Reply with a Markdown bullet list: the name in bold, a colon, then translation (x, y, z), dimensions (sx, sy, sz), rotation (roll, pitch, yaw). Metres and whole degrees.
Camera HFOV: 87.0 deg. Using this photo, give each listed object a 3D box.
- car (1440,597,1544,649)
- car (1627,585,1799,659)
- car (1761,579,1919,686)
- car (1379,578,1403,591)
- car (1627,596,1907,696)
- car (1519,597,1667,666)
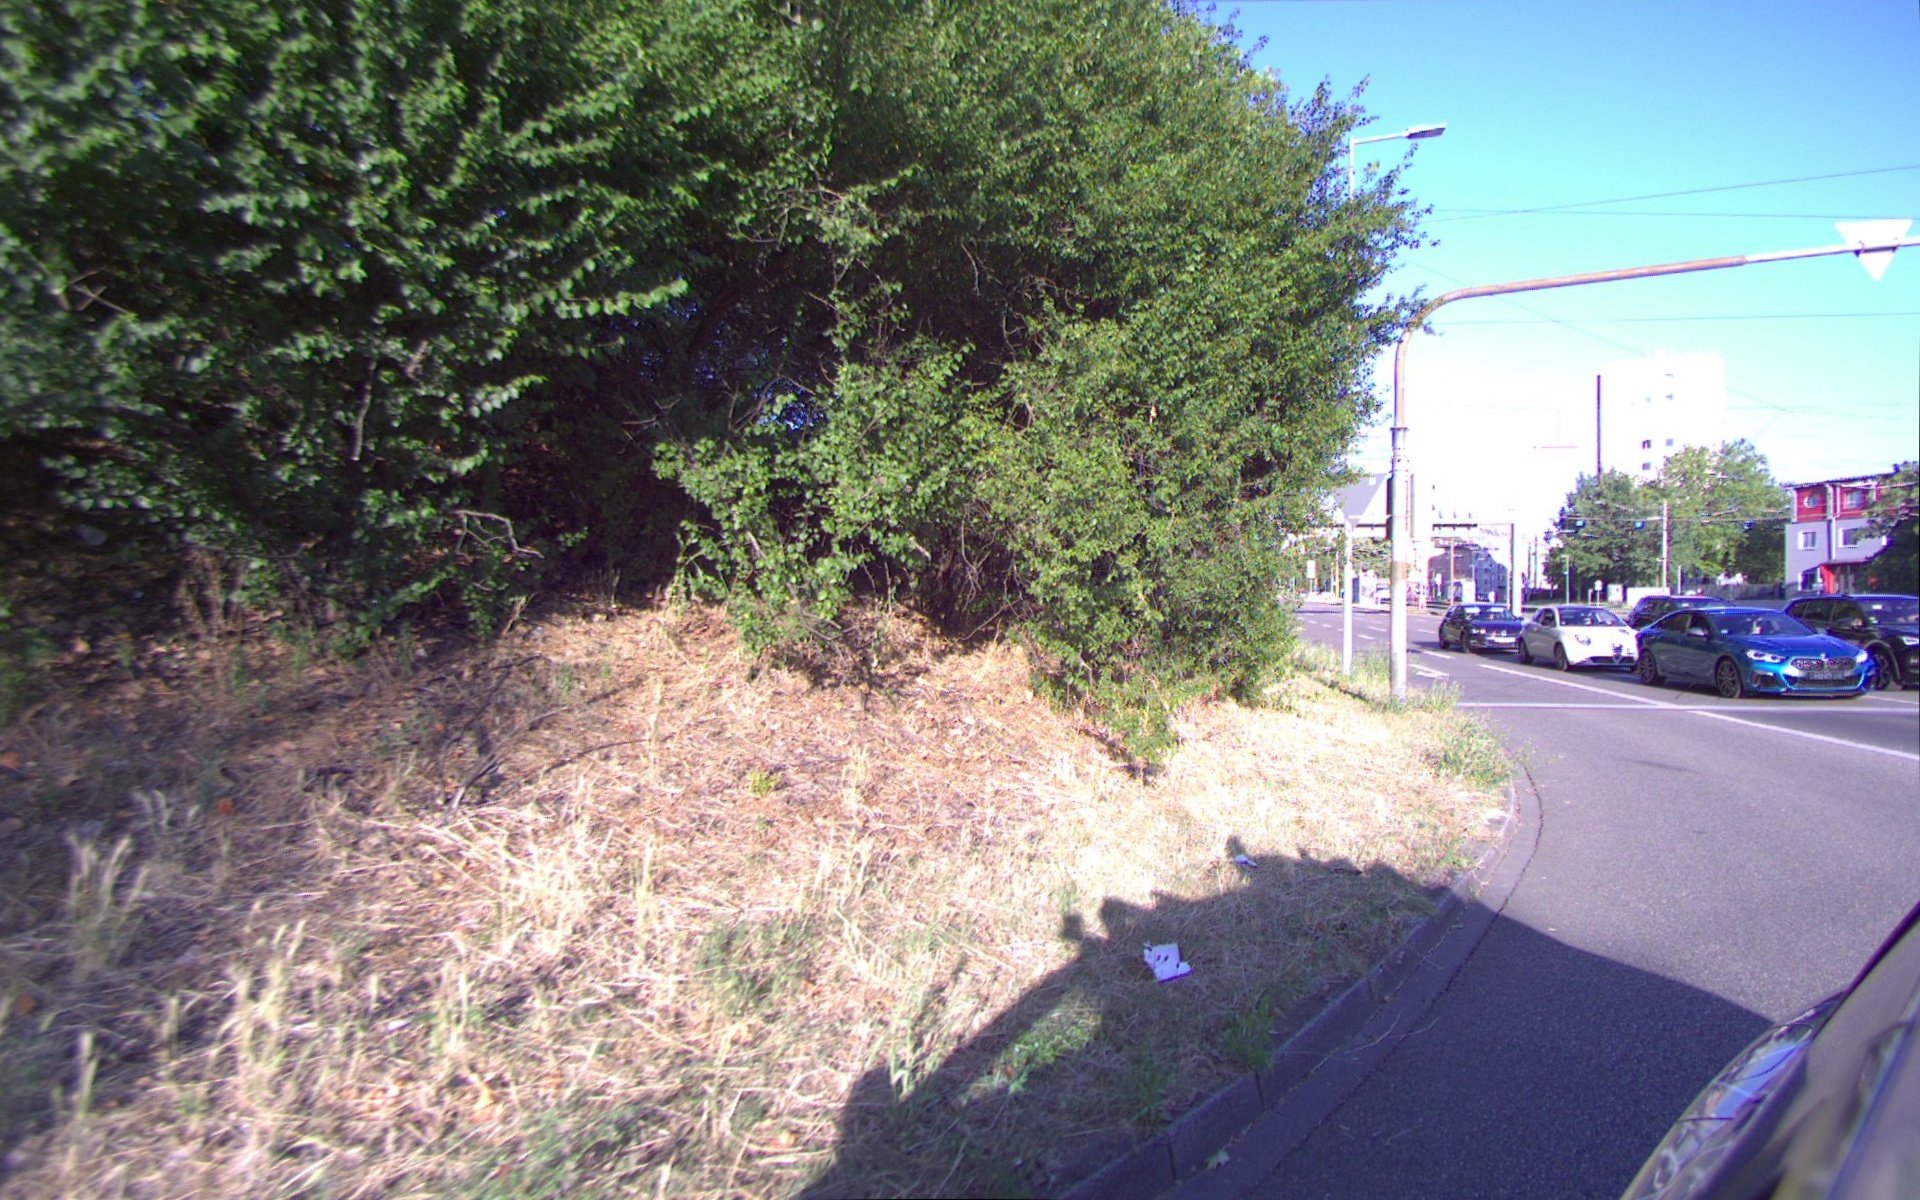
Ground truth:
- **car**: translation (15.789, 0.627, 30.251), dimensions (1.755, 1.448, 3.910), rotation (0, 0, 12)
- **car**: translation (18.825, 0.488, 25.577), dimensions (1.894, 1.669, 4.580), rotation (0, 0, 15)
- **car**: translation (16.727, 0.506, 18.105), dimensions (1.892, 1.702, 4.585), rotation (0, 0, 12)
- **car**: translation (66.887, -2.412, 157.026), dimensions (3.935, 2.039, 1.994), rotation (-1, 0, -45)
- **car**: translation (13.282, 0.660, 17.074), dimensions (1.761, 1.435, 4.499), rotation (0, 0, 11)
- **car**: translation (14.504, 0.660, 23.417), dimensions (1.640, 1.448, 3.910), rotation (0, 0, 12)
